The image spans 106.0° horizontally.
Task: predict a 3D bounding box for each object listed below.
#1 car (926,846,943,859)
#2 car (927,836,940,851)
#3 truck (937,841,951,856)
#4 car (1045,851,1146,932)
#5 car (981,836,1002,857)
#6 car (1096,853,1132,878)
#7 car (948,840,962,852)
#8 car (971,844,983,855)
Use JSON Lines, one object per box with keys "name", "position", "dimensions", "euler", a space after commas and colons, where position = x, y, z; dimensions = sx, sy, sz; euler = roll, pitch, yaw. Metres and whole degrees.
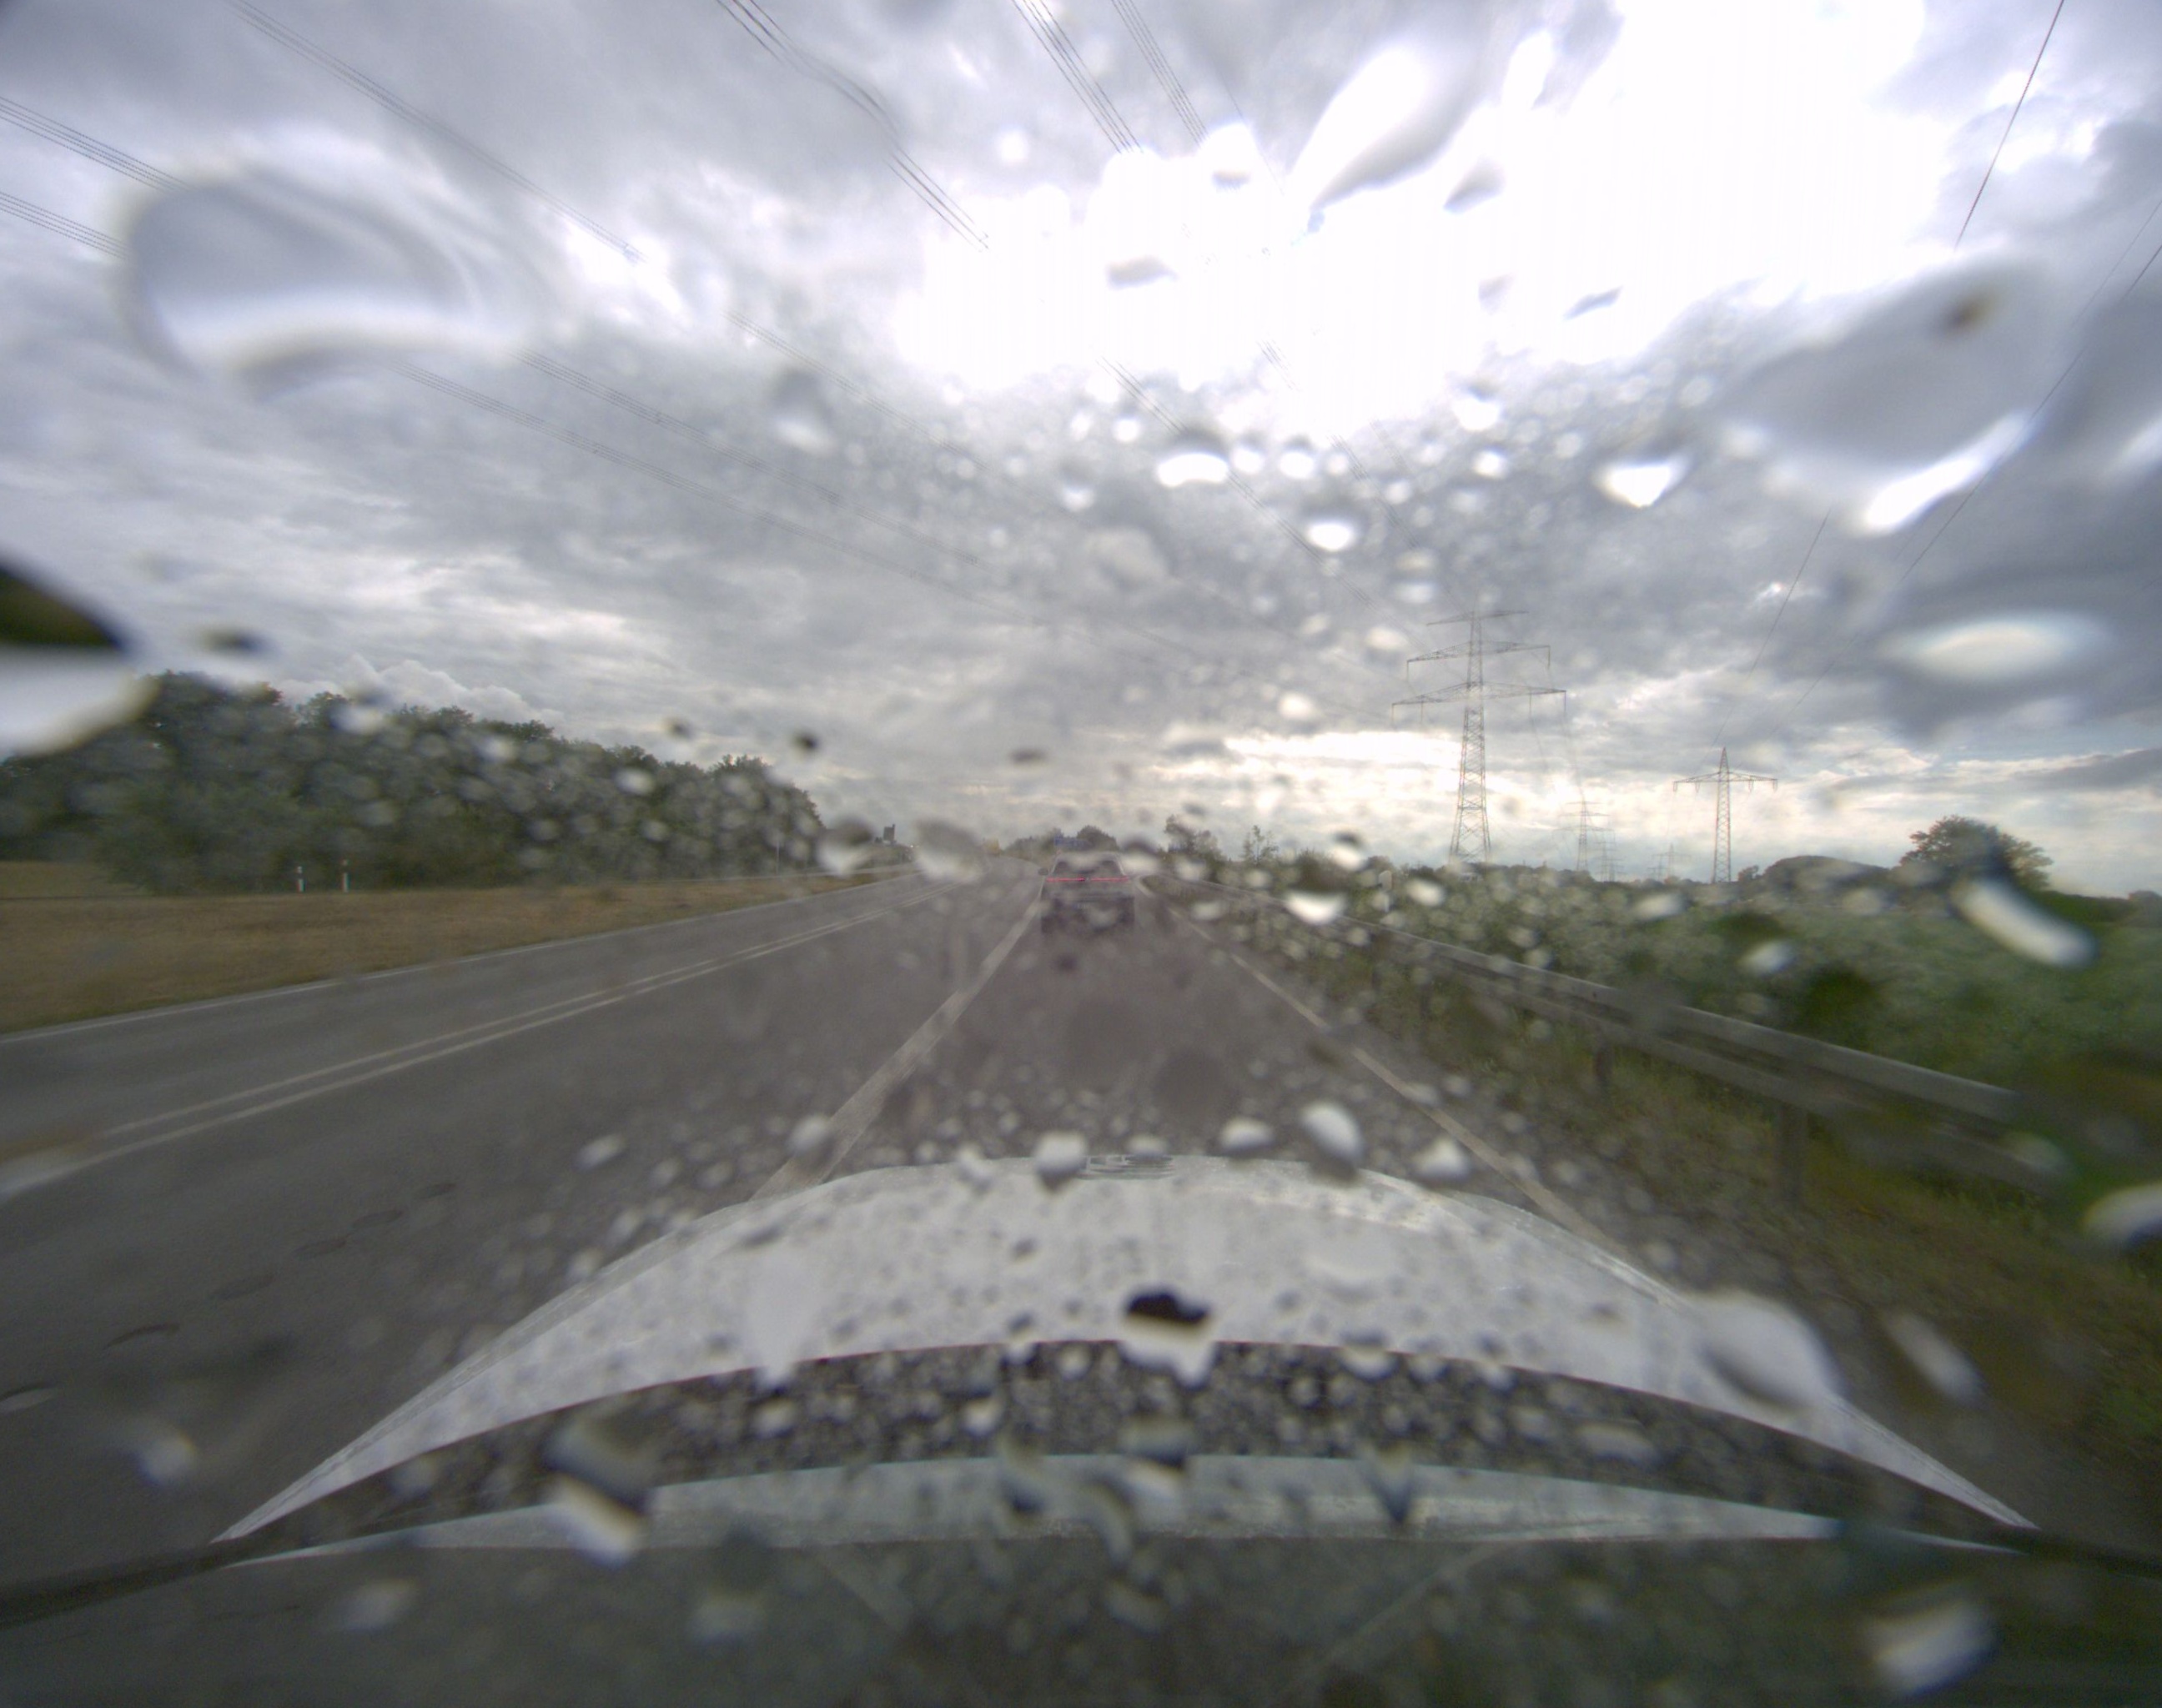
{"name": "car", "position": [-16.515, -0.128, 92.018], "dimensions": [1.743, 1.365, 4.038], "euler": [-3, 0, -8]}
{"name": "car", "position": [-27.661, -1.944, 152.618], "dimensions": [2.352, 2.701, 6.970], "euler": [-1, 1, -10]}
{"name": "truck", "position": [-33.859, -1.375, 201.131], "dimensions": [3.049, 3.385, 7.608], "euler": [1, -2, -13]}
{"name": "car", "position": [0.291, 0.694, 16.475], "dimensions": [1.785, 1.441, 4.000], "euler": [0, -1, 1]}
{"name": "car", "position": [-12.508, -1.033, 113.291], "dimensions": [2.572, 2.725, 7.174], "euler": [1, -1, -9]}
{"name": "car", "position": [2.249, 0.772, 53.985], "dimensions": [1.781, 1.441, 4.010], "euler": [3, -1, 10]}
{"name": "car", "position": [-26.795, -1.629, 172.978], "dimensions": [2.605, 2.251, 5.509], "euler": [1, -2, -13]}
{"name": "car", "position": [-16.754, -0.668, 131.439], "dimensions": [1.788, 1.688, 3.993], "euler": [1, -2, -5]}
